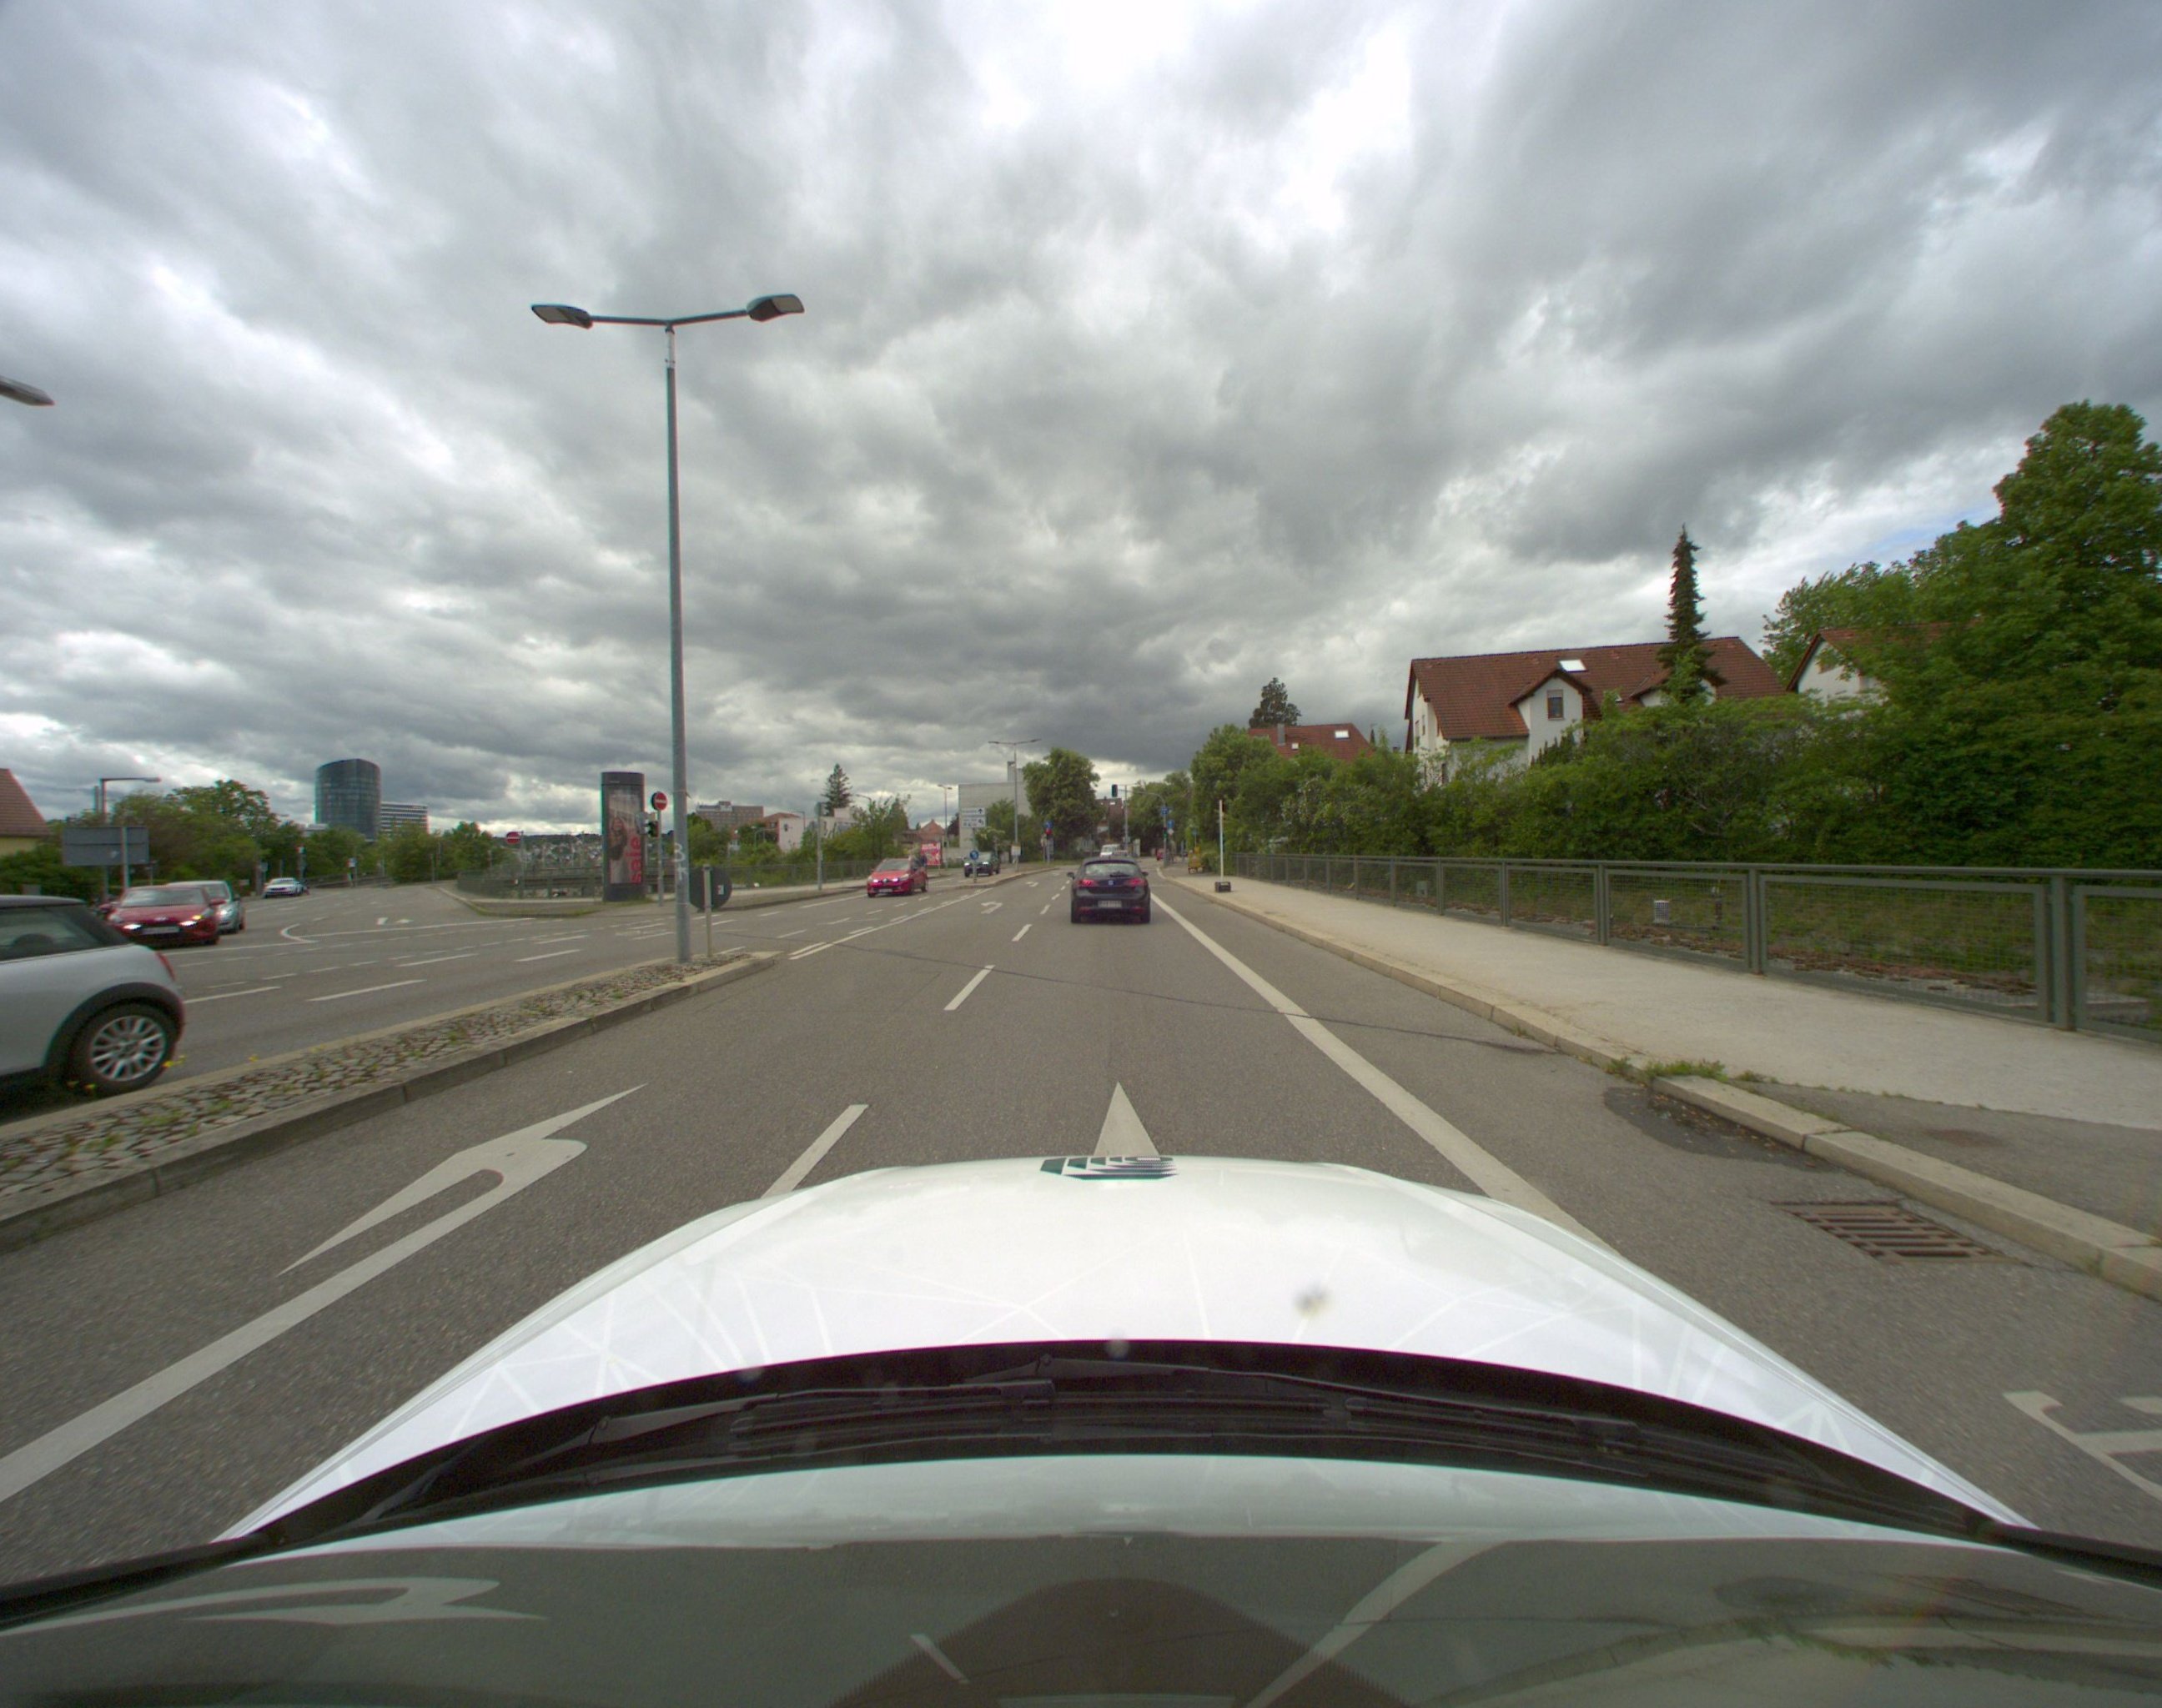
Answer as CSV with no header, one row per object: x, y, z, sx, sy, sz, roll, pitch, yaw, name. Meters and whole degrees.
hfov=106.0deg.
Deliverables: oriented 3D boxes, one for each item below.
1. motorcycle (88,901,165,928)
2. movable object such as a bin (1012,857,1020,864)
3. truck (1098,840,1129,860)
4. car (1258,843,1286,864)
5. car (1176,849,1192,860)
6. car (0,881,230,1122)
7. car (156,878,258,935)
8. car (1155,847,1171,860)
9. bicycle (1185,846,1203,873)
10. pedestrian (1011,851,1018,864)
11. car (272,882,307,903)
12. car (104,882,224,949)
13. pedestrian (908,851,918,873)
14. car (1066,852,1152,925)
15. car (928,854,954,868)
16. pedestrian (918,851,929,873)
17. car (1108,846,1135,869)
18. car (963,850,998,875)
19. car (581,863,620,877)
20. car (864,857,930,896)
-43.340,2.738,37.001,0.695,0.999,2.132,-6,-2,20,motorcycle
-7.756,0.756,97.151,0.651,0.798,0.899,-2,0,9,movable object such as a bin
4.010,-0.462,99.022,2.109,2.264,6.836,-2,0,17,truck
13.834,-0.045,59.194,1.658,1.449,4.010,-2,0,9,car
17.765,0.103,140.406,1.978,1.684,4.018,-2,0,18,car
-7.354,0.949,4.330,1.638,1.409,3.816,-2,0,-2,car
-27.182,1.605,25.455,1.656,1.535,4.080,-4,0,-41,car
10.882,-0.076,108.143,1.932,1.481,4.259,-2,0,5,car
6.602,0.307,47.740,0.887,1.510,2.788,-4,0,7,bicycle
-7.874,0.404,96.468,0.651,1.522,0.926,-2,0,9,pedestrian
-67.816,3.262,69.805,1.910,1.607,4.324,-2,0,-42,car
-23.288,1.528,20.802,3.656,1.446,1.786,-3,0,45,car
-12.415,0.596,60.269,0.655,1.633,0.831,0,0,-5,pedestrian
0.738,0.714,18.749,1.751,1.448,3.720,1,1,5,car
-20.902,1.099,121.832,1.977,2.013,4.020,1,0,21,car
-11.716,0.573,60.501,0.655,1.633,1.069,0,0,-5,pedestrian
3.263,0.218,65.264,1.809,1.699,4.262,-2,0,7,car
-6.759,0.545,54.991,1.817,1.626,4.278,-1,0,0,car
-59.466,2.014,100.766,4.014,1.662,1.718,2,0,-32,car
-7.296,0.853,32.705,1.715,1.448,4.066,-1,0,0,car
